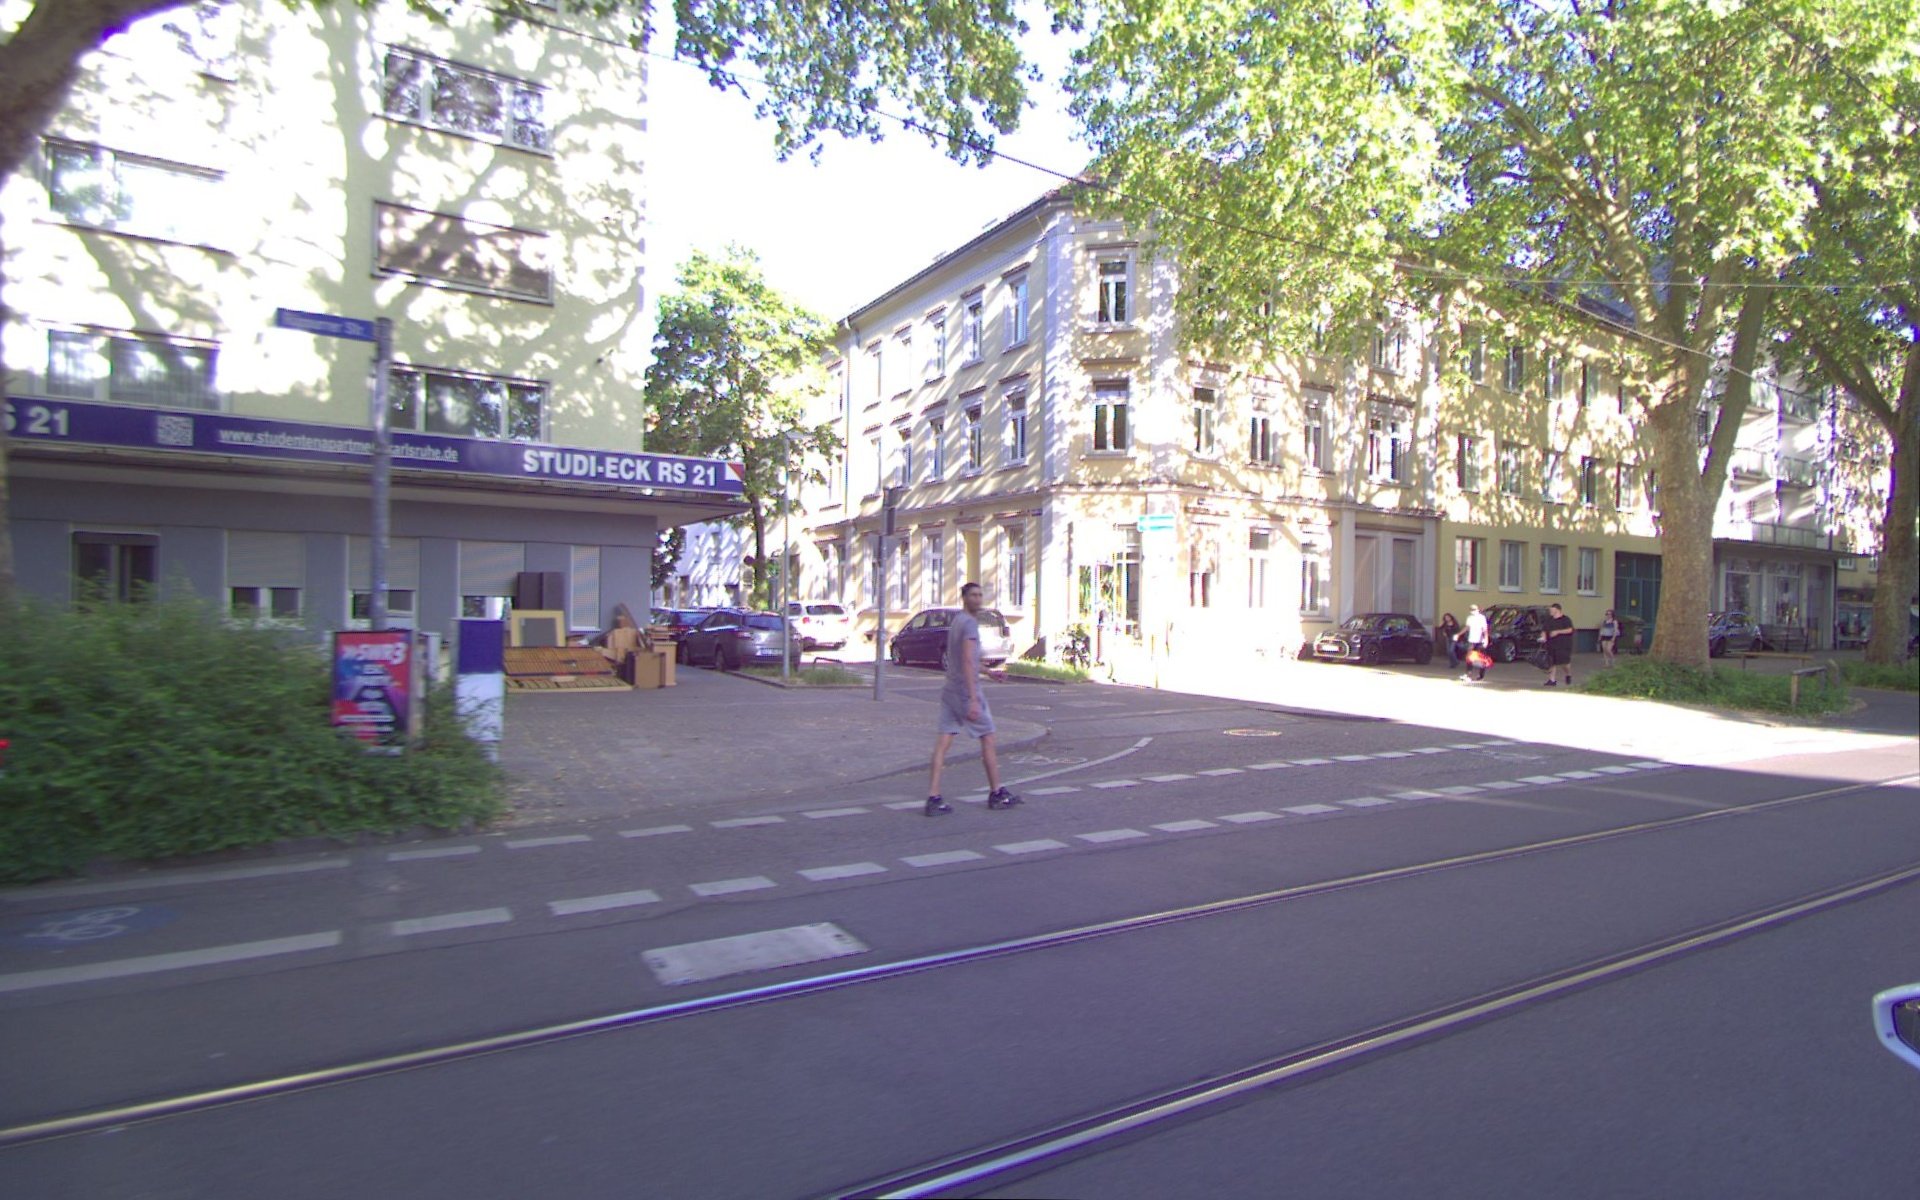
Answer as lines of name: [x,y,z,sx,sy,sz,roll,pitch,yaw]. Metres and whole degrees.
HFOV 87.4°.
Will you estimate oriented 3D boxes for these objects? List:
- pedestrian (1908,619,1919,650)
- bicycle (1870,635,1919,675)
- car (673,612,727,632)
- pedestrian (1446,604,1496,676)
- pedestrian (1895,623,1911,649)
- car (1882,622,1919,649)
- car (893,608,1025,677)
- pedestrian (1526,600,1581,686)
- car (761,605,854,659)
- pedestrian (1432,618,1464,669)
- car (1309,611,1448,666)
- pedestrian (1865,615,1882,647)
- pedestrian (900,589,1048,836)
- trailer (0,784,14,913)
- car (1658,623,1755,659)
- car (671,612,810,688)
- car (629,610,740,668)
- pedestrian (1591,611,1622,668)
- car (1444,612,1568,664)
pedestrian: [50.198,1.813,52.715,0.521,1.604,0.504,1,0,-33]
bicycle: [28.244,1.648,30.038,0.444,1.076,1.696,2,1,0]
car: [-12.381,1.016,47.752,1.629,0.894,3.388,1,-1,-30]
pedestrian: [12.061,0.935,23.719,0.638,1.654,0.840,1,0,-36]
pedestrian: [50.314,1.931,53.590,0.521,1.351,0.504,1,0,-33]
car: [62.456,2.315,64.876,1.981,1.728,3.959,1,-1,-36]
car: [-0.108,1.056,26.737,1.976,1.606,3.631,-3,1,-29]
pedestrian: [13.286,0.944,22.493,0.638,1.894,0.899,1,0,-36]
car: [-5.438,1.082,35.492,1.864,1.793,3.966,1,-1,-31]
pedestrian: [13.756,1.218,28.312,0.641,1.421,0.550,1,0,-27]
car: [12.071,1.067,28.911,3.953,1.483,1.674,1,-1,-30]
pedestrian: [46.669,1.579,51.309,0.568,1.604,0.549,1,0,-35]
pedestrian: [0.111,0.818,7.757,0.907,1.758,0.704,1,-2,-45]
trailer: [-7.159,1.218,2.733,6.329,0.640,2.149,1,-3,-32]
car: [28.682,1.539,38.562,3.783,1.293,1.687,0,0,-31]
car: [-5.081,1.054,22.877,1.802,1.555,3.963,1,-1,-34]
car: [-7.639,1.023,27.643,1.802,1.471,3.963,1,-1,-34]
pedestrian: [19.378,1.169,30.113,0.641,1.674,0.550,1,0,-27]
car: [17.527,1.181,32.211,3.953,1.537,1.673,1,1,-30]
